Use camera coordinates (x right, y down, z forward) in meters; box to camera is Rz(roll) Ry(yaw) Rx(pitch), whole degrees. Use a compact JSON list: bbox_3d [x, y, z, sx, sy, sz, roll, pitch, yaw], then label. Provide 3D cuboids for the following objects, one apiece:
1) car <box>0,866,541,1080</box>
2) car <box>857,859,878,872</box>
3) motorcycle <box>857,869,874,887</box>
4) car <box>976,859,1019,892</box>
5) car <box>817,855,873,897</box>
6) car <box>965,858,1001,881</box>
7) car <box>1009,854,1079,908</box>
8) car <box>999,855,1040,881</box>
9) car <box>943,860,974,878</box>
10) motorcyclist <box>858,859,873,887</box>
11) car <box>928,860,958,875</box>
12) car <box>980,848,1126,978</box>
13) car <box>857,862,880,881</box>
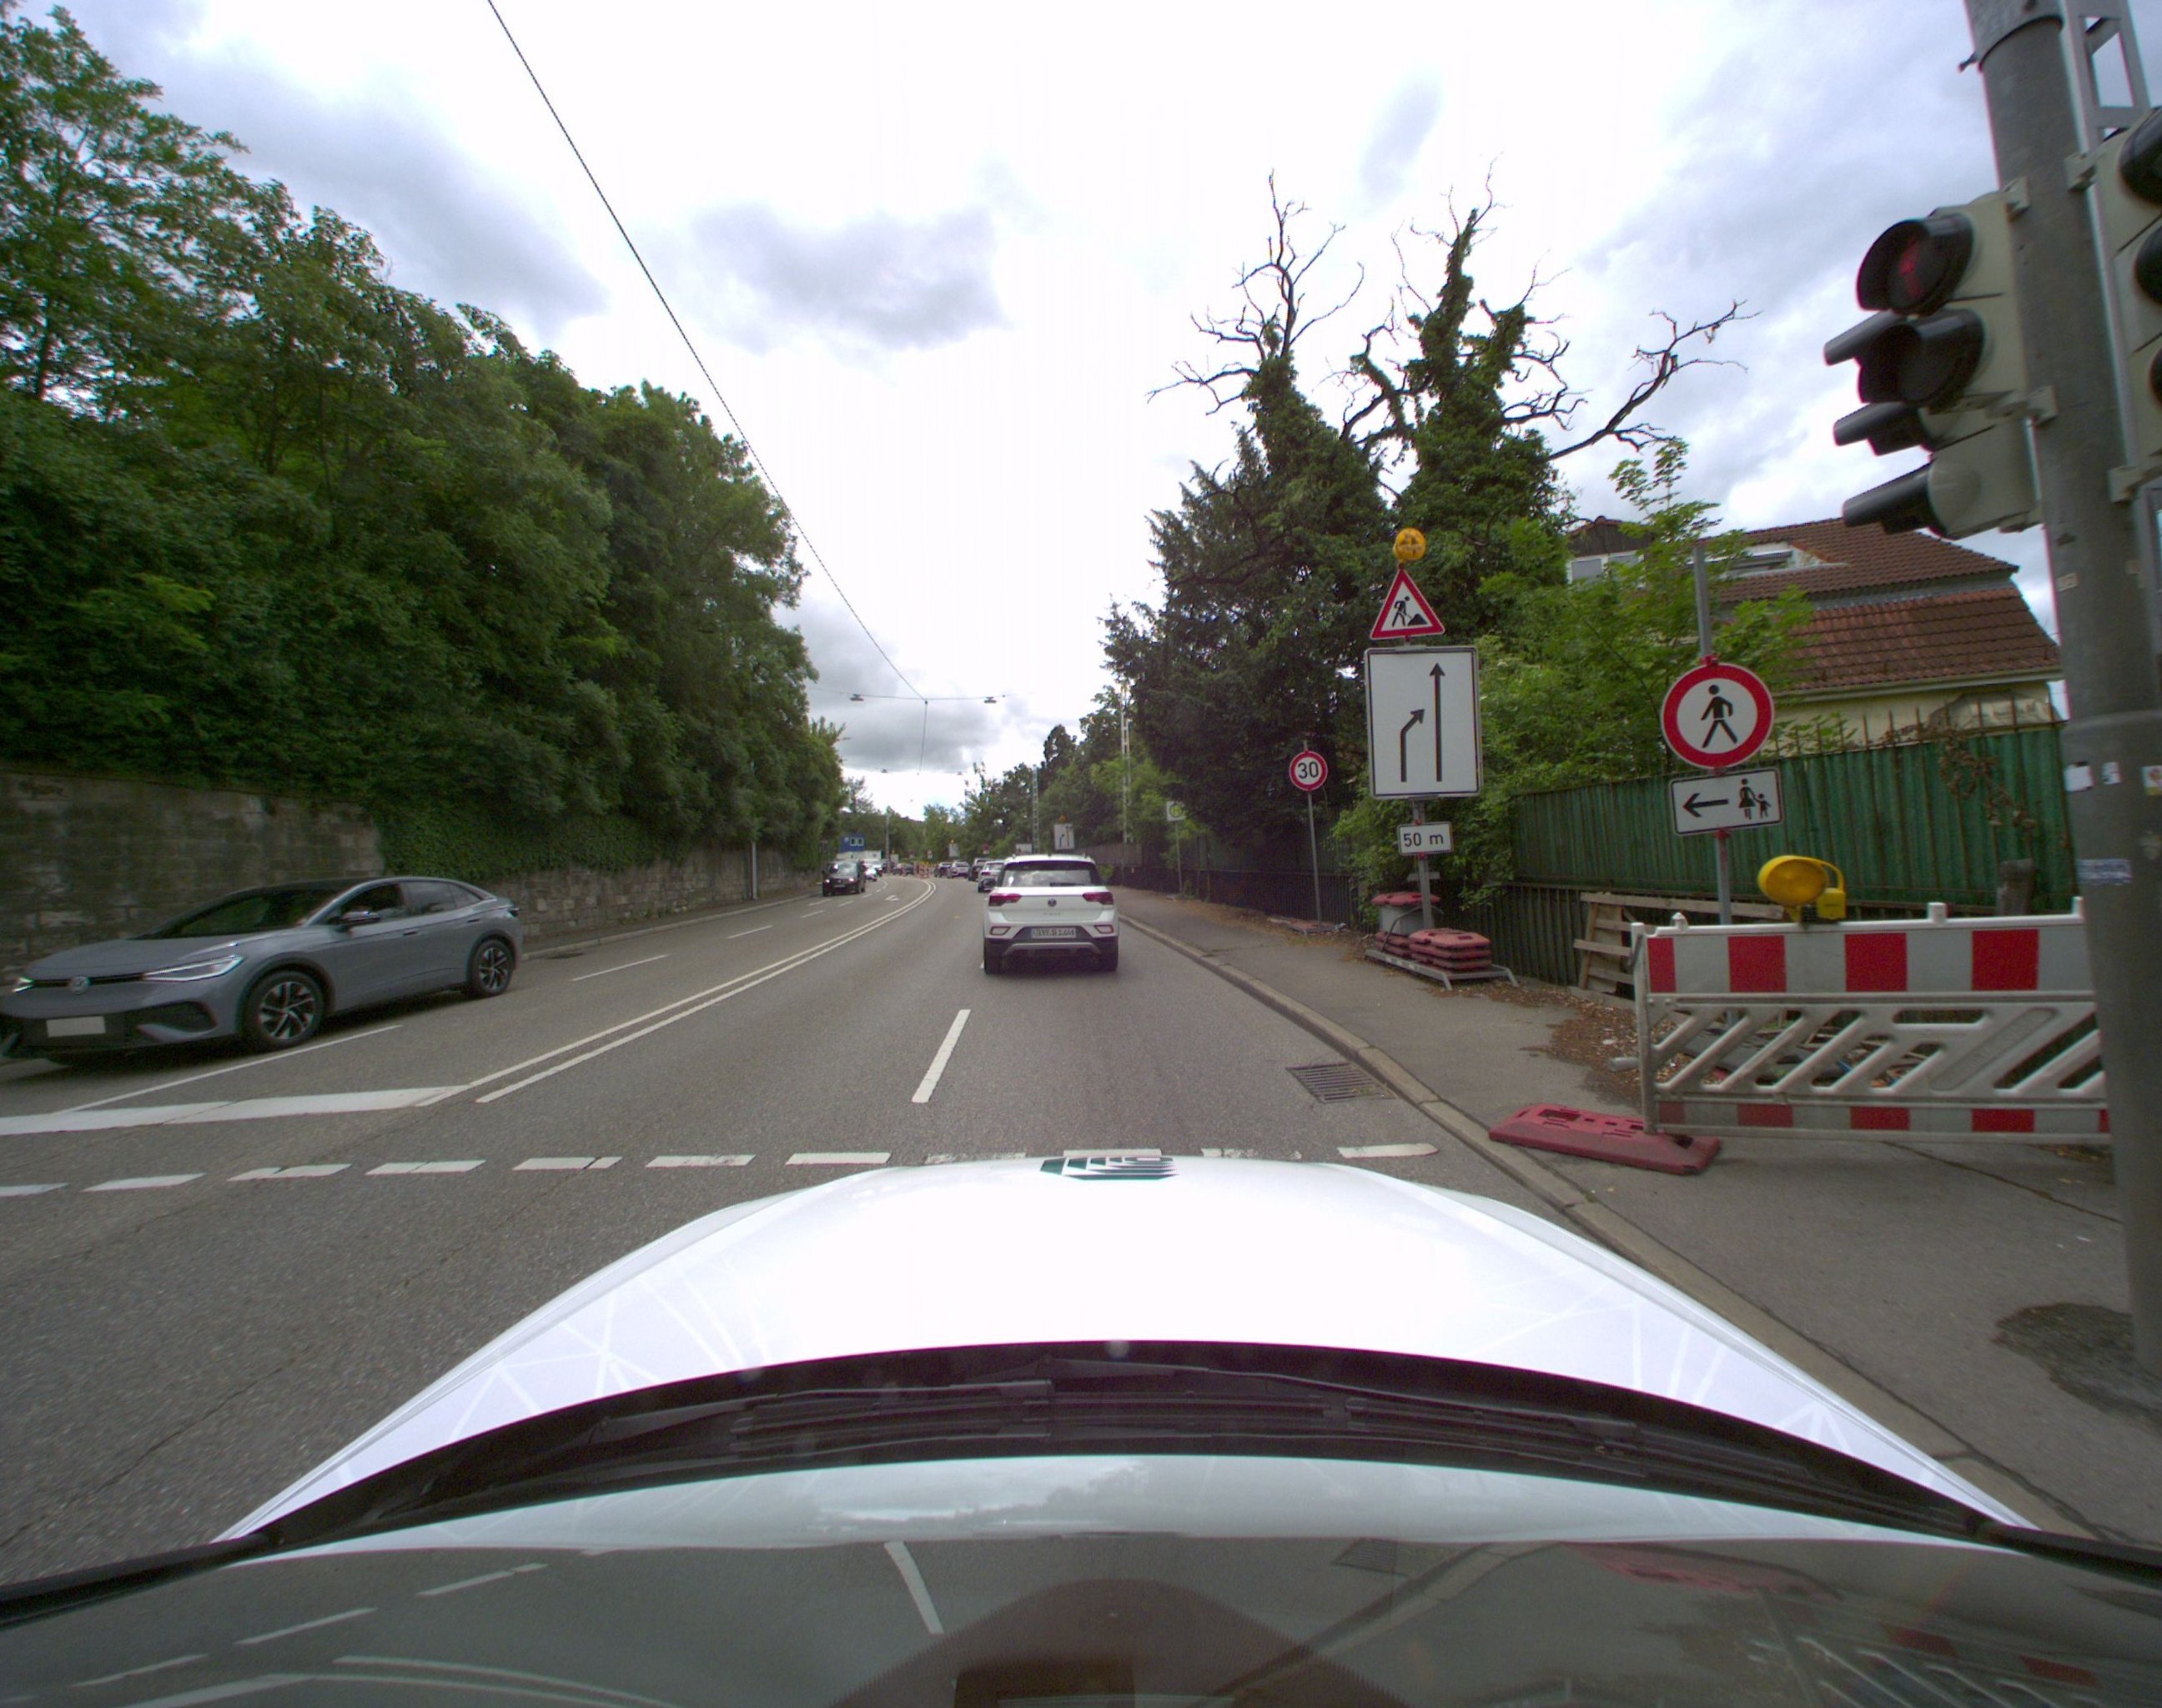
[{"bbox_3d":[-8.369,1.016,8.902,1.989,1.608,4.472,-4,0,-3],"label":"car"},{"bbox_3d":[-29.434,1.630,112.156,1.851,1.699,3.964,-2,0,-28],"label":"car"},{"bbox_3d":[-13.981,1.542,52.848,0.649,1.073,2.303,-3,0,-6],"label":"motorcycle"},{"bbox_3d":[-3.982,0.994,38.405,1.757,1.471,3.783,0,-1,-9],"label":"car"},{"bbox_3d":[-11.753,1.059,40.814,1.740,1.845,4.243,-4,0,-4],"label":"car"},{"bbox_3d":[-7.023,1.054,58.191,1.997,1.556,4.130,-1,0,-15],"label":"car"},{"bbox_3d":[-1.266,0.826,26.361,1.758,1.609,3.781,0,-1,-10],"label":"car"},{"bbox_3d":[-3.650,0.838,47.927,1.993,1.414,4.136,-2,-1,-10],"label":"car"},{"bbox_3d":[-10.653,1.296,70.799,1.999,1.450,4.125,-1,-1,-18],"label":"car"},{"bbox_3d":[-13.962,1.226,52.677,0.648,1.705,1.335,-3,0,-6],"label":"motorcyclist"},{"bbox_3d":[-13.660,1.347,80.437,2.002,1.450,4.119,-1,-1,-23],"label":"car"},{"bbox_3d":[-0.565,0.737,11.800,1.756,1.556,3.785,0,-1,-8],"label":"car"},{"bbox_3d":[-17.853,1.485,68.530,1.785,1.466,4.080,-4,0,-14],"label":"car"}]
